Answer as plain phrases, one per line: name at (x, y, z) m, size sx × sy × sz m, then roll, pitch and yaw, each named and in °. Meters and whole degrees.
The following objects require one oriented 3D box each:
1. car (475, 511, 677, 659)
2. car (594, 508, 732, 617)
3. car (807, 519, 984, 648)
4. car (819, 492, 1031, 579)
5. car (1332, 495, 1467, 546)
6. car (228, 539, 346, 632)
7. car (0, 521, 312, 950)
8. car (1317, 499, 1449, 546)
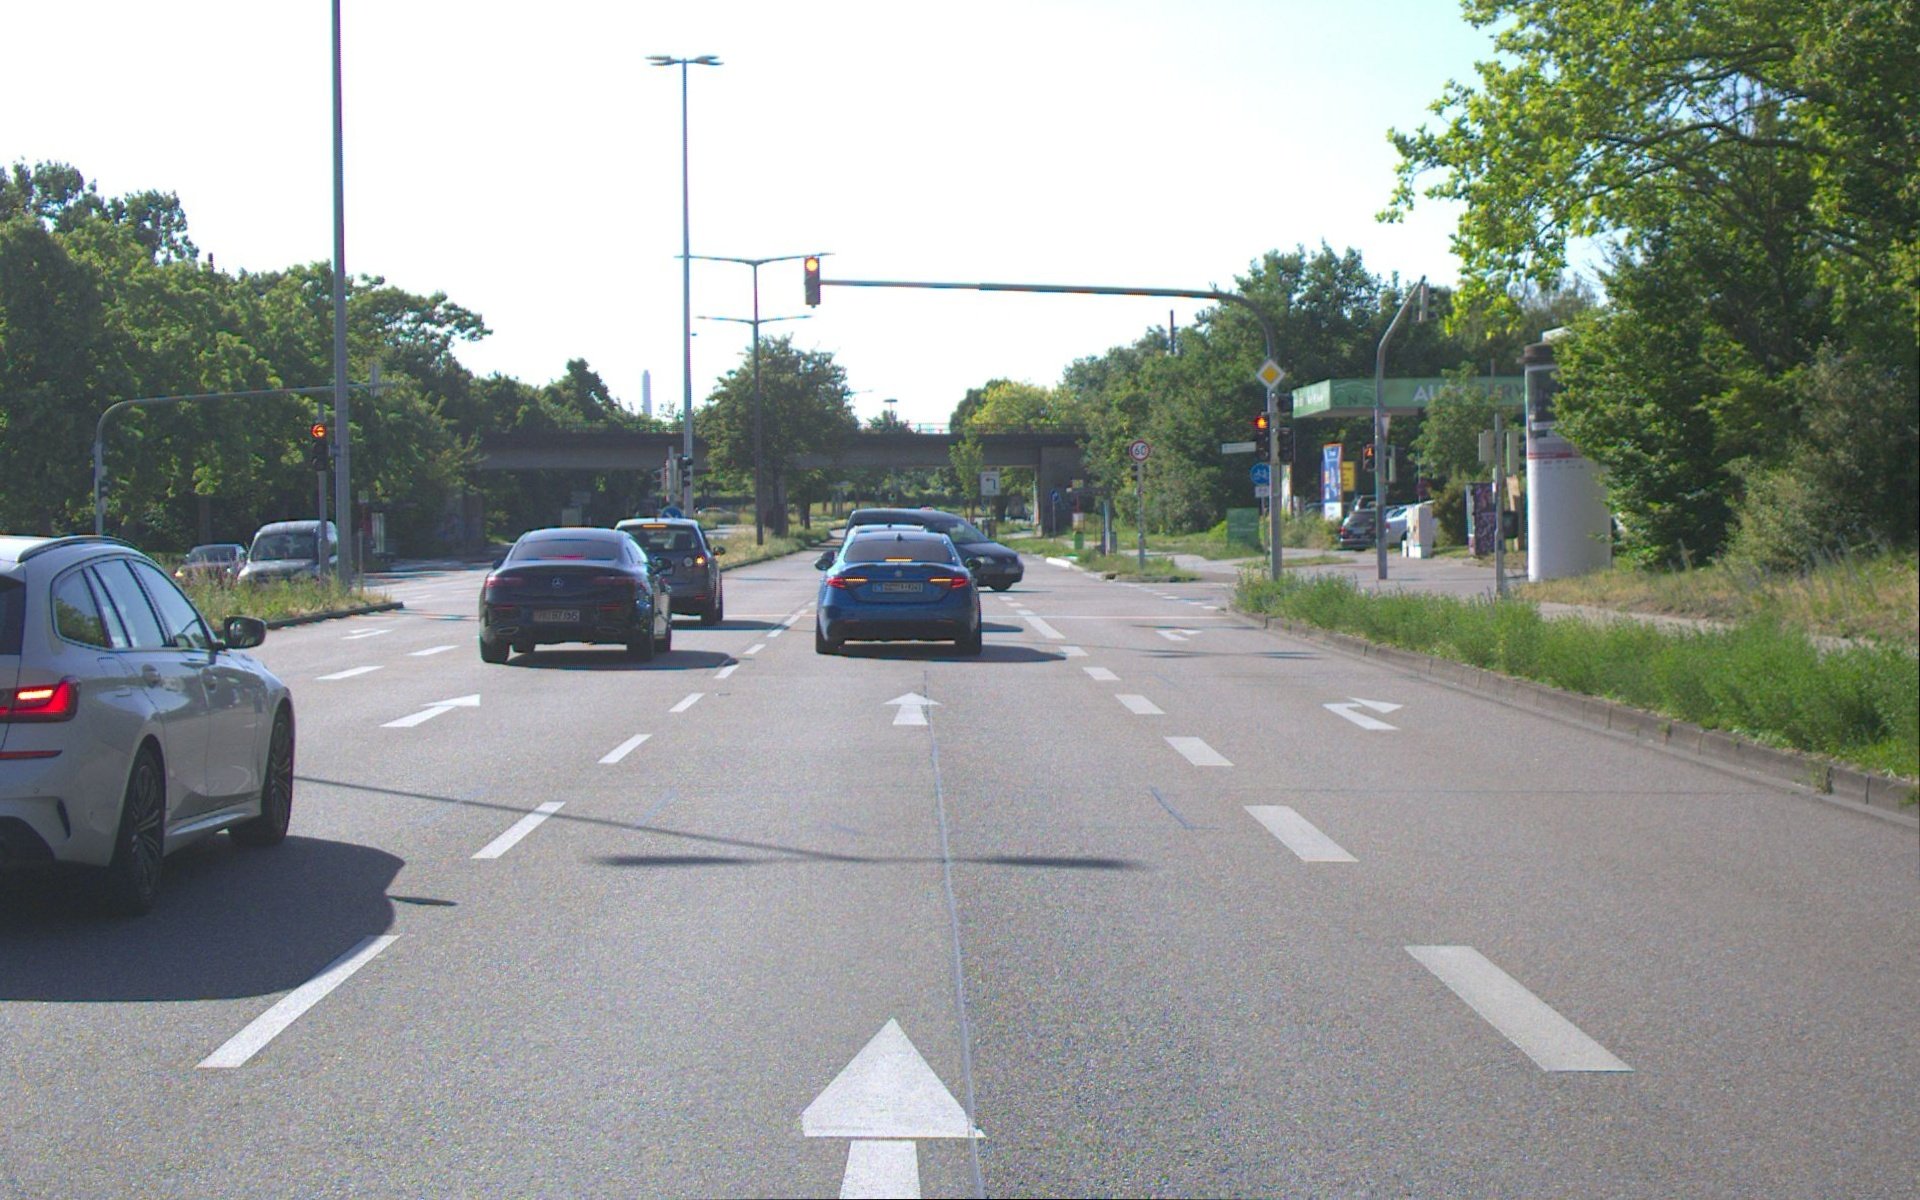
car at (-4.195, -0.209, 38.144) m, size 1.812 × 1.546 × 4.544 m, roll 0°, pitch 1°, yaw -1°
car at (-4.409, -0.571, 51.538) m, size 1.812 × 1.546 × 4.354 m, roll 1°, pitch 1°, yaw -2°
car at (-0.704, -0.204, 40.220) m, size 1.910 × 1.418 × 3.719 m, roll 1°, pitch 1°, yaw 1°
car at (-0.799, -1.440, 76.428) m, size 4.591 × 1.869 × 1.814 m, roll 1°, pitch 2°, yaw 39°
car at (13.888, -2.510, 108.774) m, size 3.987 × 1.546 × 2.000 m, roll 1°, pitch 1°, yaw 1°
car at (-13.940, -0.325, 71.368) m, size 1.677 × 1.841 × 4.295 m, roll 1°, pitch 1°, yaw -1°
car at (-3.991, 0.427, 14.164) m, size 1.812 × 1.481 × 4.596 m, roll 1°, pitch 1°, yaw -1°
car at (14.472, -2.637, 117.602) m, size 3.986 × 1.546 × 2.001 m, roll 0°, pitch 1°, yaw -17°
